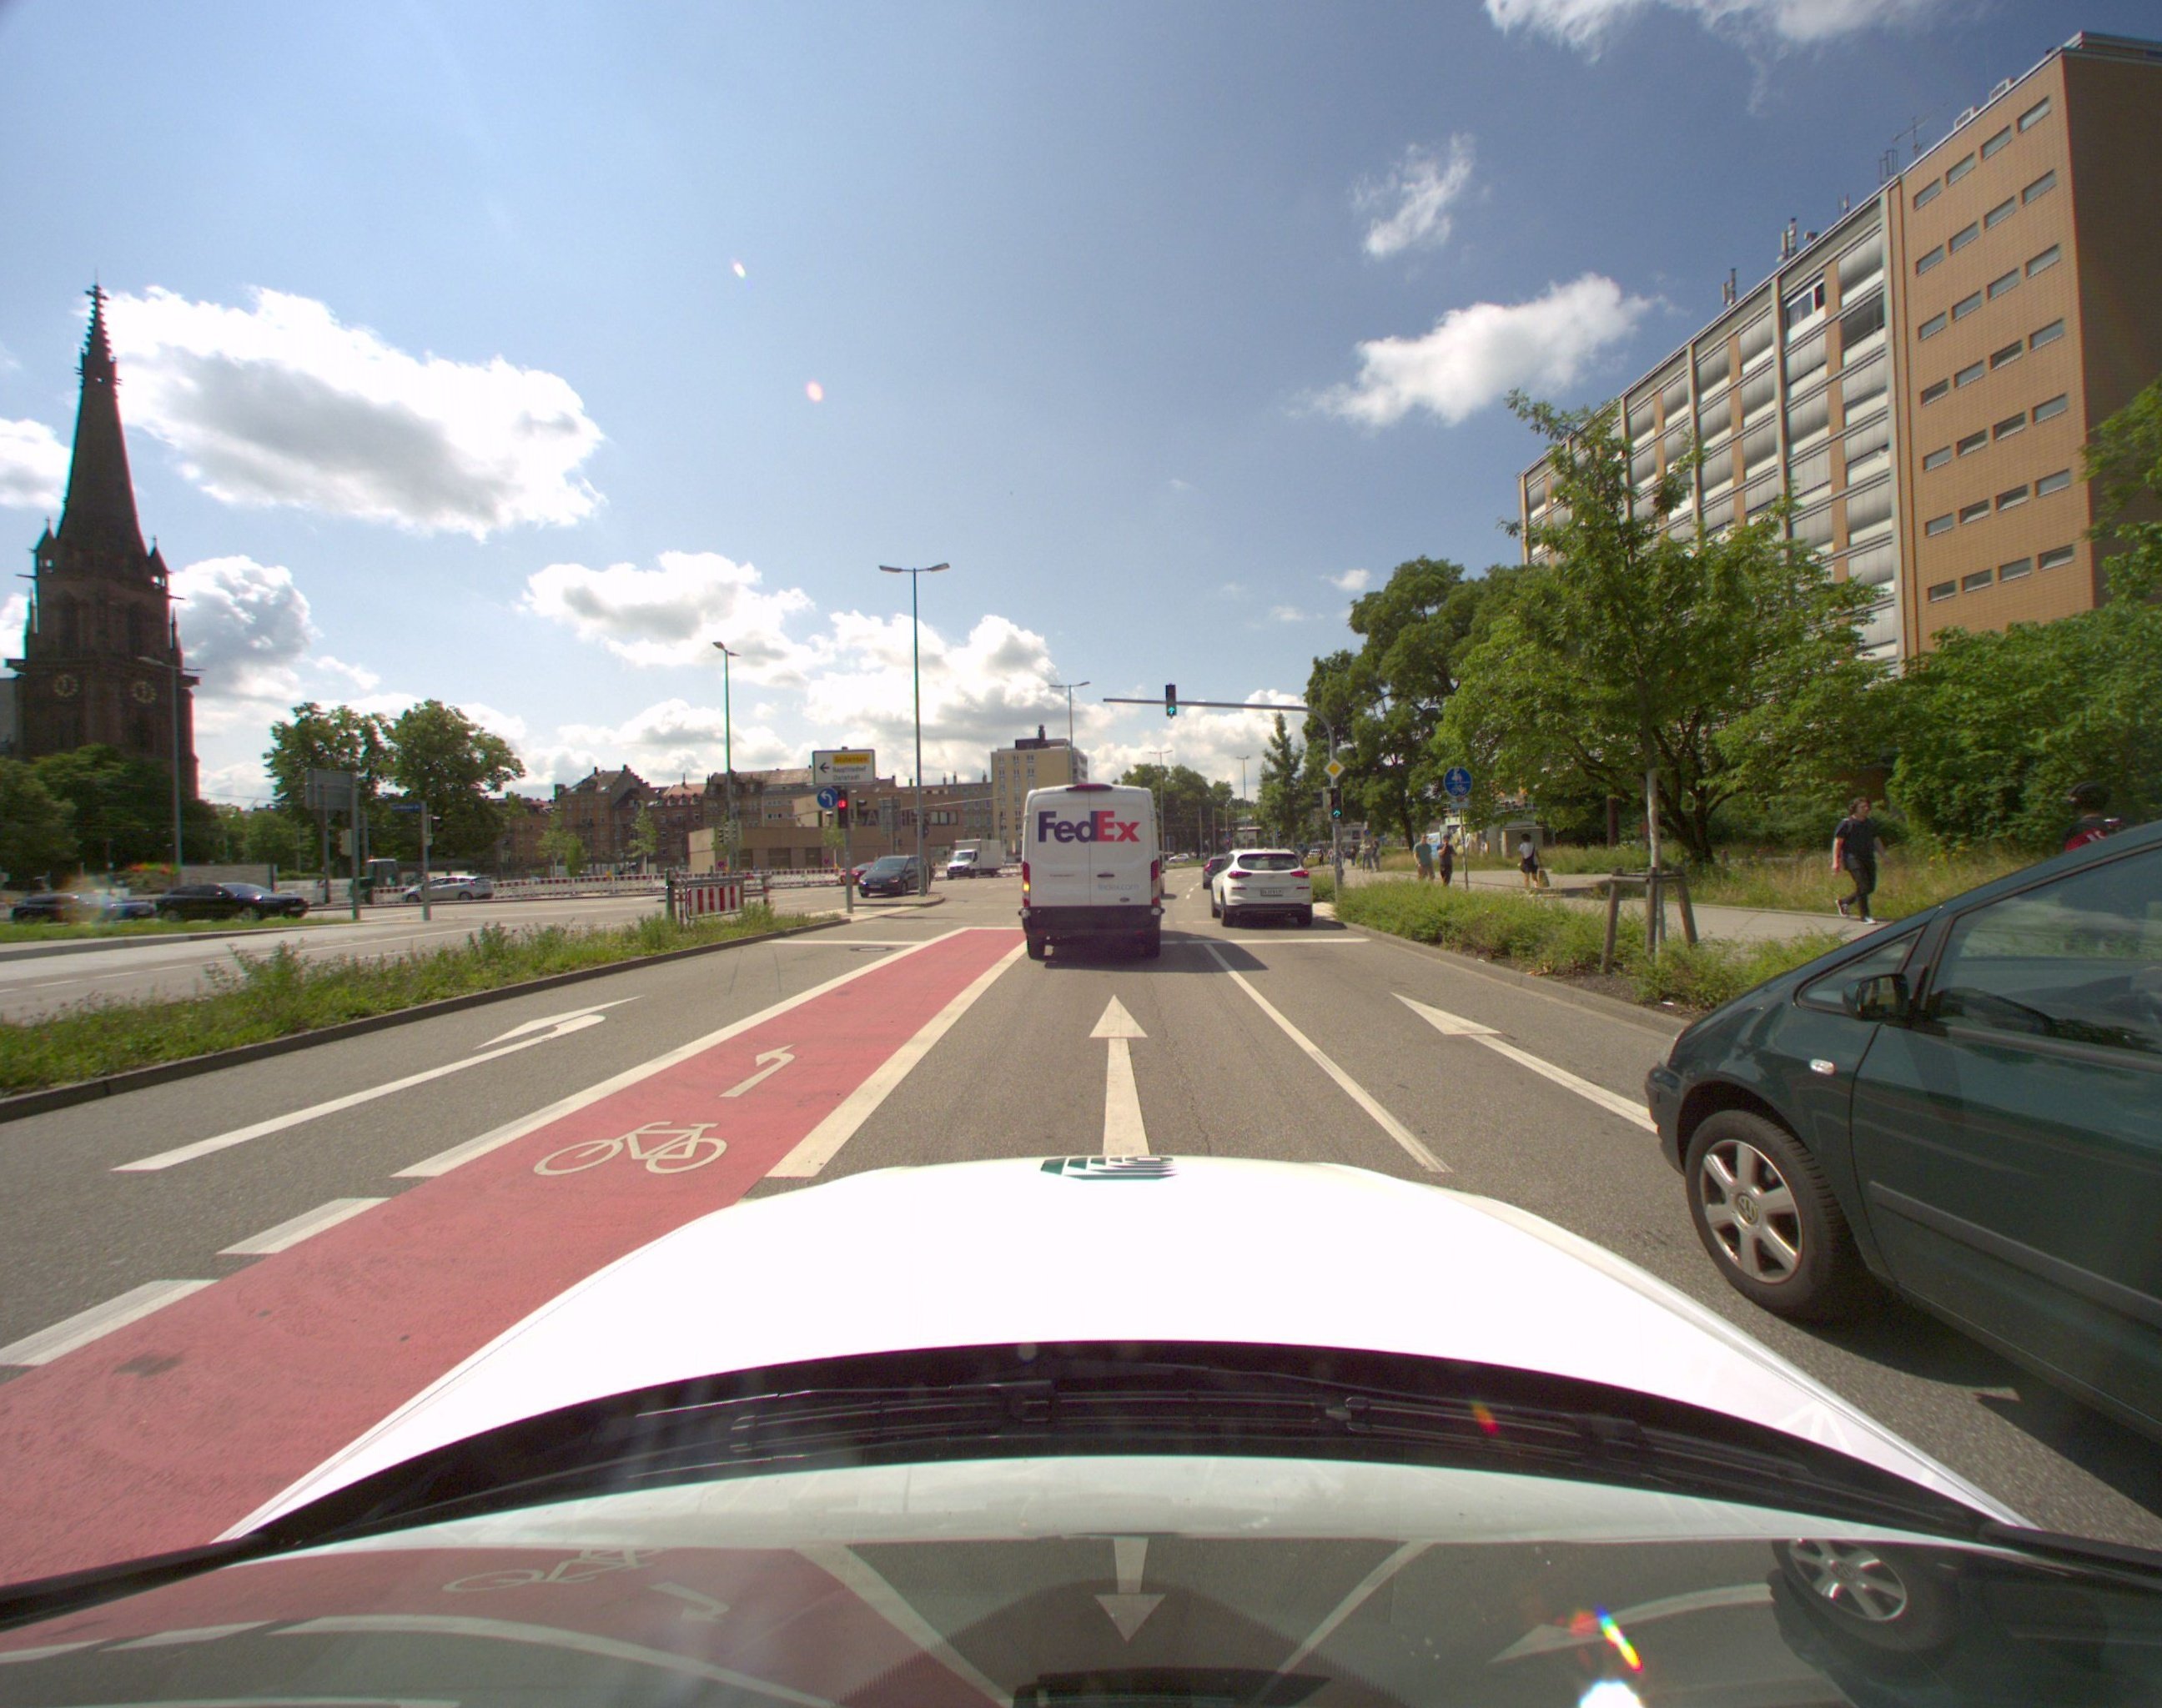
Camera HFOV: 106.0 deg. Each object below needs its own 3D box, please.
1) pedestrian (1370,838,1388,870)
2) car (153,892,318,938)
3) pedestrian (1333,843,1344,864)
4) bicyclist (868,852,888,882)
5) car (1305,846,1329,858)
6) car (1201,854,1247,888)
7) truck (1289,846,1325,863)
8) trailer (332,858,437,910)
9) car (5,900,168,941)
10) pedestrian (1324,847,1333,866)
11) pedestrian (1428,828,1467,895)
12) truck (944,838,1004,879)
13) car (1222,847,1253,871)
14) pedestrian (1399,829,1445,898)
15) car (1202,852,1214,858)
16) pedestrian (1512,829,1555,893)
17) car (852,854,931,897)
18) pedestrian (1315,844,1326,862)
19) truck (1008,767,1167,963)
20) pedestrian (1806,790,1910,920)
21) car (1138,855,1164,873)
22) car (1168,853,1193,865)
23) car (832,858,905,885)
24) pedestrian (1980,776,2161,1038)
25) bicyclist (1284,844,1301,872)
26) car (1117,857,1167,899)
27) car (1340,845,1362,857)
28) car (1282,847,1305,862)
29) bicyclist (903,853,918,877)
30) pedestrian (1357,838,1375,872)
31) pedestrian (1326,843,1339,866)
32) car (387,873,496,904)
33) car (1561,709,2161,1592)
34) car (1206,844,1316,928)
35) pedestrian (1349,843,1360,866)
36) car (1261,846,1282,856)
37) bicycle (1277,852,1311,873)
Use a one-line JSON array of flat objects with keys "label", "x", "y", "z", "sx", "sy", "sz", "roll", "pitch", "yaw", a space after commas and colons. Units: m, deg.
[{"label": "pedestrian", "x": 16.405, "y": -0.004, "z": 44.876, "sx": 0.745, "sy": 1.752, "sz": 0.611, "roll": -4, "pitch": 0, "yaw": 7}, {"label": "car", "x": -33.970, "y": 2.430, "z": 32.811, "sx": 4.481, "sy": 1.486, "sz": 2.000, "roll": -2, "pitch": 0, "yaw": 0}, {"label": "pedestrian", "x": 22.348, "y": -0.056, "z": 70.632, "sx": 0.751, "sy": 1.821, "sz": 0.640, "roll": -1, "pitch": -1, "yaw": 9}, {"label": "bicyclist", "x": -11.310, "y": 0.696, "z": 45.427, "sx": 0.772, "sy": 1.618, "sz": 0.844, "roll": -2, "pitch": 0, "yaw": 4}, {"label": "car", "x": 32.896, "y": -0.304, "z": 113.470, "sx": 1.863, "sy": 1.641, "sz": 3.982, "roll": -2, "pitch": 0, "yaw": 36}, {"label": "car", "x": 6.509, "y": 0.748, "z": 37.417, "sx": 1.904, "sy": 1.420, "sz": 3.927, "roll": -2, "pitch": 0, "yaw": 8}, {"label": "truck", "x": 43.764, "y": 0.062, "z": 157.464, "sx": 2.858, "sy": 2.852, "sz": 8.846, "roll": -2, "pitch": 0, "yaw": 43}, {"label": "trailer", "x": -41.082, "y": 1.733, "z": 48.131, "sx": 1.974, "sy": 2.914, "sz": 4.394, "roll": -1, "pitch": -1, "yaw": 37}, {"label": "car", "x": -45.085, "y": 3.008, "z": 37.017, "sx": 4.644, "sy": 1.486, "sz": 1.997, "roll": -2, "pitch": 0, "yaw": -4}, {"label": "pedestrian", "x": 21.538, "y": 0.222, "z": 70.834, "sx": 0.584, "sy": 1.626, "sz": 0.729, "roll": -1, "pitch": -1, "yaw": 9}, {"label": "pedestrian", "x": 9.935, "y": 0.205, "z": 22.109, "sx": 0.665, "sy": 1.746, "sz": 0.608, "roll": -3, "pitch": 0, "yaw": -5}, {"label": "truck", "x": -8.391, "y": 0.365, "z": 64.560, "sx": 1.979, "sy": 3.068, "sz": 7.360, "roll": -1, "pitch": -1, "yaw": 15}, {"label": "car", "x": 11.816, "y": 0.356, "z": 61.201, "sx": 1.867, "sy": 1.641, "sz": 3.974, "roll": -2, "pitch": 0, "yaw": 16}, {"label": "pedestrian", "x": 9.206, "y": 0.252, "z": 22.018, "sx": 0.748, "sy": 1.777, "sz": 0.880, "roll": -3, "pitch": 0, "yaw": -5}, {"label": "car", "x": 31.795, "y": 0.278, "z": 204.160, "sx": 1.976, "sy": 1.574, "sz": 4.200, "roll": -1, "pitch": -1, "yaw": 22}, {"label": "pedestrian", "x": 11.657, "y": 0.175, "z": 21.015, "sx": 0.664, "sy": 1.596, "sz": 0.648, "roll": -3, "pitch": 0, "yaw": 0}, {"label": "car", "x": -7.717, "y": 0.822, "z": 33.619, "sx": 1.872, "sy": 1.623, "sz": 4.162, "roll": -1, "pitch": 0, "yaw": 6}, {"label": "pedestrian", "x": 21.334, "y": -0.117, "z": 72.553, "sx": 0.753, "sy": 1.590, "sz": 0.762, "roll": -1, "pitch": -1, "yaw": 3}, {"label": "truck", "x": 0.247, "y": 0.172, "z": 14.102, "sx": 2.128, "sy": 2.640, "sz": 5.922, "roll": -1, "pitch": 0, "yaw": 3}, {"label": "pedestrian", "x": 11.027, "y": 0.013, "z": 11.582, "sx": 0.747, "sy": 1.750, "sz": 0.667, "roll": -3, "pitch": 0, "yaw": 0}, {"label": "car", "x": 7.995, "y": 1.148, "z": 93.066, "sx": 1.977, "sy": 2.014, "sz": 4.142, "roll": -1, "pitch": -1, "yaw": 18}, {"label": "car", "x": 17.246, "y": 0.910, "z": 141.165, "sx": 4.045, "sy": 1.925, "sz": 1.816, "roll": -1, "pitch": -1, "yaw": 13}, {"label": "car", "x": -13.306, "y": 1.067, "z": 51.146, "sx": 3.926, "sy": 1.486, "sz": 1.976, "roll": -2, "pitch": 0, "yaw": -41}, {"label": "pedestrian", "x": 7.383, "y": 0.345, "z": 5.916, "sx": 0.664, "sy": 1.750, "sz": 0.848, "roll": -3, "pitch": 0, "yaw": 0}, {"label": "bicyclist", "x": 12.317, "y": 0.239, "z": 47.436, "sx": 0.823, "sy": 1.601, "sz": 0.581, "roll": -5, "pitch": -2, "yaw": 7}, {"label": "car", "x": 2.306, "y": 0.861, "z": 30.789, "sx": 1.733, "sy": 1.391, "sz": 4.184, "roll": -2, "pitch": 0, "yaw": 4}, {"label": "car", "x": 39.382, "y": -0.399, "z": 118.855, "sx": 1.863, "sy": 1.641, "sz": 3.982, "roll": -2, "pitch": 0, "yaw": 36}, {"label": "car", "x": 26.215, "y": 0.059, "z": 100.502, "sx": 1.863, "sy": 1.641, "sz": 3.981, "roll": -2, "pitch": 0, "yaw": 28}, {"label": "bicyclist", "x": -10.379, "y": 0.673, "z": 49.518, "sx": 0.561, "sy": 1.461, "sz": 0.839, "roll": -2, "pitch": 0, "yaw": 11}, {"label": "pedestrian", "x": 15.578, "y": 0.033, "z": 44.547, "sx": 0.745, "sy": 1.802, "sz": 0.611, "roll": -4, "pitch": 0, "yaw": 7}, {"label": "pedestrian", "x": 21.130, "y": 0.056, "z": 68.461, "sx": 0.753, "sy": 1.821, "sz": 0.781, "roll": -5, "pitch": -1, "yaw": 3}, {"label": "car", "x": -33.635, "y": 1.774, "z": 42.935, "sx": 4.000, "sy": 1.508, "sz": 1.995, "roll": -1, "pitch": -1, "yaw": -7}, {"label": "car", "x": 2.999, "y": 0.578, "z": 1.415, "sx": 1.788, "sy": 1.723, "sz": 4.449, "roll": 0, "pitch": 0, "yaw": 1}, {"label": "car", "x": 3.934, "y": 0.640, "z": 18.445, "sx": 1.872, "sy": 1.641, "sz": 4.239, "roll": -1, "pitch": 0, "yaw": 5}, {"label": "pedestrian", "x": 22.652, "y": 0.046, "z": 67.482, "sx": 0.751, "sy": 1.821, "sz": 0.676, "roll": -1, "pitch": -1, "yaw": 10}, {"label": "car", "x": 36.769, "y": -0.623, "z": 157.228, "sx": 1.702, "sy": 1.800, "sz": 4.768, "roll": -4, "pitch": -1, "yaw": 45}, {"label": "bicycle", "x": 12.378, "y": 0.514, "z": 47.420, "sx": 1.799, "sy": 1.050, "sz": 0.593, "roll": -5, "pitch": -2, "yaw": 7}]
